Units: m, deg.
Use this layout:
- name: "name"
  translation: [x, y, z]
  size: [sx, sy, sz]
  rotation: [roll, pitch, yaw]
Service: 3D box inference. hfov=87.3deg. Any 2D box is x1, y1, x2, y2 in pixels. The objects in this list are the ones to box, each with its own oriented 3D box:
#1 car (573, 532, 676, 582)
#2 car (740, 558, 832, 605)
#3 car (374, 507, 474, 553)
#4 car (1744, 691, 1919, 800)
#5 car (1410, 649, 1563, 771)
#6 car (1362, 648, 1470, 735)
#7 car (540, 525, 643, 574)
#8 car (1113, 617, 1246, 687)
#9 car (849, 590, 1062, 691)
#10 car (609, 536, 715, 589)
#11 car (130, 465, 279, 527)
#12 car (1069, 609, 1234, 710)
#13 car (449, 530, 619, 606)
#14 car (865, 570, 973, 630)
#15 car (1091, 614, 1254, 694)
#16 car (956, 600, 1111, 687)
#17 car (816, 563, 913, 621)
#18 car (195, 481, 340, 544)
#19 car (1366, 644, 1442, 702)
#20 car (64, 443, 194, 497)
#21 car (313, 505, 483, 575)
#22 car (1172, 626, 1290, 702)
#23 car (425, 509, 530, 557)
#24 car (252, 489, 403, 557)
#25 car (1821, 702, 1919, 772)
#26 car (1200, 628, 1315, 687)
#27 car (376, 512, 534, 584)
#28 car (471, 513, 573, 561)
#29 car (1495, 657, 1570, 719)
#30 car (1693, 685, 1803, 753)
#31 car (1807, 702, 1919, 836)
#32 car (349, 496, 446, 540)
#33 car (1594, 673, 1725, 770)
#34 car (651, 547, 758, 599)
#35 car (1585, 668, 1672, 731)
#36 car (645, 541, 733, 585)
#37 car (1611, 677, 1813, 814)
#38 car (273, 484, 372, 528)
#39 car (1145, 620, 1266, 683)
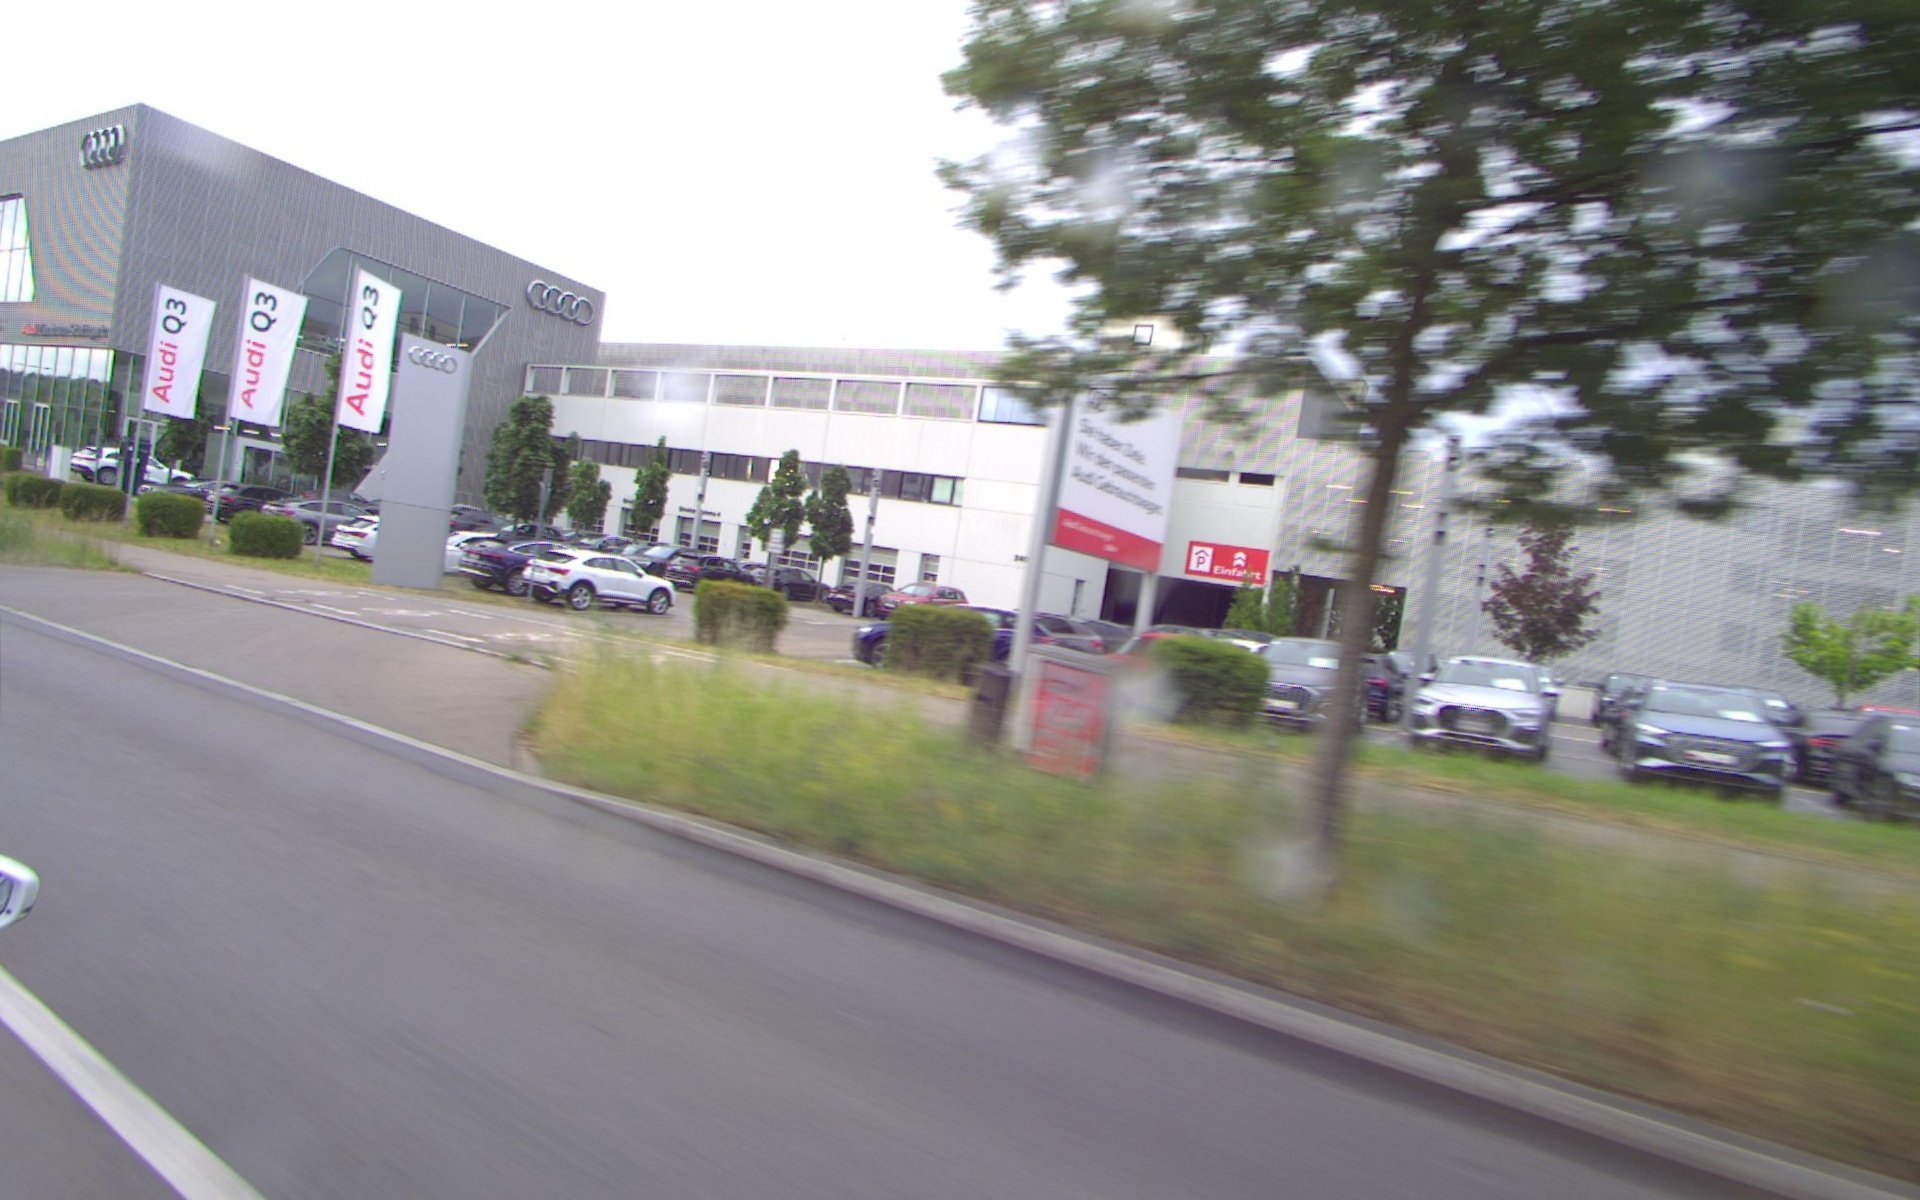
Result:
- name: "car"
  translation: [-14.745, -1.882, 44.460]
  size: [1.664, 1.593, 4.112]
  rotation: [8, 0, 31]
- name: "car"
  translation: [-7.818, -0.808, 45.634]
  size: [1.664, 1.593, 4.111]
  rotation: [7, -1, 32]
- name: "car"
  translation: [-27.436, -3.568, 51.636]
  size: [1.664, 1.592, 4.114]
  rotation: [8, -1, 31]
- name: "car"
  translation: [16.520, 2.639, 18.994]
  size: [1.898, 1.569, 4.469]
  rotation: [6, -1, 29]
- name: "car"
  translation: [9.049, 1.766, 17.130]
  size: [1.899, 1.570, 4.466]
  rotation: [6, 0, 31]
- name: "car"
  translation: [10.503, 2.004, 22.991]
  size: [1.897, 1.570, 4.469]
  rotation: [6, 0, 27]
- name: "car"
  translation: [-16.531, -2.248, 45.275]
  size: [1.664, 1.593, 4.112]
  rotation: [7, -1, 31]
- name: "car"
  translation: [6.623, 1.562, 30.651]
  size: [3.496, 1.614, 1.770]
  rotation: [7, 2, 0]
- name: "car"
  translation: [-0.087, 0.859, 21.855]
  size: [4.279, 1.613, 1.838]
  rotation: [7, 0, 1]
- name: "car"
  translation: [-12.480, -1.535, 42.360]
  size: [1.664, 1.592, 4.113]
  rotation: [7, -1, 31]
- name: "car"
  translation: [-30.401, -4.158, 40.628]
  size: [1.664, 1.592, 4.429]
  rotation: [8, -1, 31]
- name: "car"
  translation: [3.905, 1.184, 19.867]
  size: [1.897, 1.569, 4.471]
  rotation: [6, -1, 27]
- name: "car"
  translation: [-12.328, -0.884, 29.348]
  size: [1.842, 1.612, 4.110]
  rotation: [6, -2, 34]
- name: "car"
  translation: [-1.638, 0.037, 41.841]
  size: [1.969, 1.877, 4.530]
  rotation: [7, -1, 35]
- name: "car"
  translation: [5.734, 1.447, 27.458]
  size: [3.920, 1.614, 1.770]
  rotation: [7, 2, 0]
- name: "car"
  translation: [1.733, 1.016, 24.567]
  size: [3.496, 1.614, 1.770]
  rotation: [7, 2, 0]
- name: "car"
  translation: [-4.050, -0.309, 43.263]
  size: [1.967, 1.899, 3.993]
  rotation: [8, -1, 32]
- name: "car"
  translation: [-26.287, -3.284, 38.309]
  size: [1.664, 1.592, 4.114]
  rotation: [8, -1, 31]
- name: "car"
  translation: [14.970, 2.441, 33.781]
  size: [1.796, 1.613, 4.284]
  rotation: [6, -1, 29]
- name: "car"
  translation: [-38.660, -6.010, 46.906]
  size: [1.664, 1.592, 4.268]
  rotation: [8, -1, 31]
- name: "car"
  translation: [-18.293, -1.930, 32.980]
  size: [1.664, 1.613, 4.527]
  rotation: [6, -1, 31]
- name: "car"
  translation: [7.003, 1.617, 25.621]
  size: [1.897, 1.570, 4.470]
  rotation: [6, 0, 27]
- name: "car"
  translation: [-23.068, -3.183, 48.267]
  size: [1.795, 1.592, 4.114]
  rotation: [8, -1, 31]
- name: "car"
  translation: [-22.374, -2.684, 35.752]
  size: [1.664, 1.627, 4.113]
  rotation: [8, -1, 31]
- name: "car"
  translation: [26.157, 3.841, 28.425]
  size: [1.796, 1.613, 4.284]
  rotation: [6, -1, 29]
- name: "car"
  translation: [10.789, 2.082, 36.687]
  size: [3.496, 1.614, 1.770]
  rotation: [7, 2, 0]
- name: "car"
  translation: [-15.925, -1.607, 31.953]
  size: [1.664, 1.612, 4.114]
  rotation: [6, -2, 31]
- name: "car"
  translation: [-20.589, -2.918, 47.456]
  size: [1.664, 1.593, 4.112]
  rotation: [9, 0, 31]
- name: "car"
  translation: [18.089, 2.767, 31.845]
  size: [1.796, 1.613, 4.284]
  rotation: [6, -1, 29]
- name: "car"
  translation: [23.383, 3.469, 30.008]
  size: [1.796, 1.613, 4.284]
  rotation: [6, -1, 29]
- name: "car"
  translation: [13.550, 2.350, 13.960]
  size: [1.899, 1.474, 4.466]
  rotation: [6, 0, 31]
- name: "car"
  translation: [-30.049, -4.353, 53.847]
  size: [1.730, 1.592, 4.114]
  rotation: [8, -1, 31]
- name: "car"
  translation: [14.331, 2.429, 20.829]
  size: [1.796, 1.569, 4.282]
  rotation: [6, -1, 31]
- name: "car"
  translation: [-10.358, -1.069, 41.057]
  size: [1.664, 1.593, 4.113]
  rotation: [6, -2, 31]
- name: "car"
  translation: [20.882, 3.069, 31.570]
  size: [1.796, 1.613, 4.284]
  rotation: [6, -1, 29]
- name: "car"
  translation: [-13.435, -1.827, 50.082]
  size: [1.664, 1.593, 4.112]
  rotation: [7, 0, 30]
- name: "car"
  translation: [11.464, 2.096, 15.656]
  size: [1.899, 1.547, 4.466]
  rotation: [6, 0, 31]
- name: "car"
  translation: [-34.461, -5.048, 54.488]
  size: [1.664, 1.592, 4.114]
  rotation: [8, -1, 31]
- name: "car"
  translation: [8.264, 1.719, 34.084]
  size: [3.496, 1.614, 1.770]
  rotation: [7, 2, 0]
